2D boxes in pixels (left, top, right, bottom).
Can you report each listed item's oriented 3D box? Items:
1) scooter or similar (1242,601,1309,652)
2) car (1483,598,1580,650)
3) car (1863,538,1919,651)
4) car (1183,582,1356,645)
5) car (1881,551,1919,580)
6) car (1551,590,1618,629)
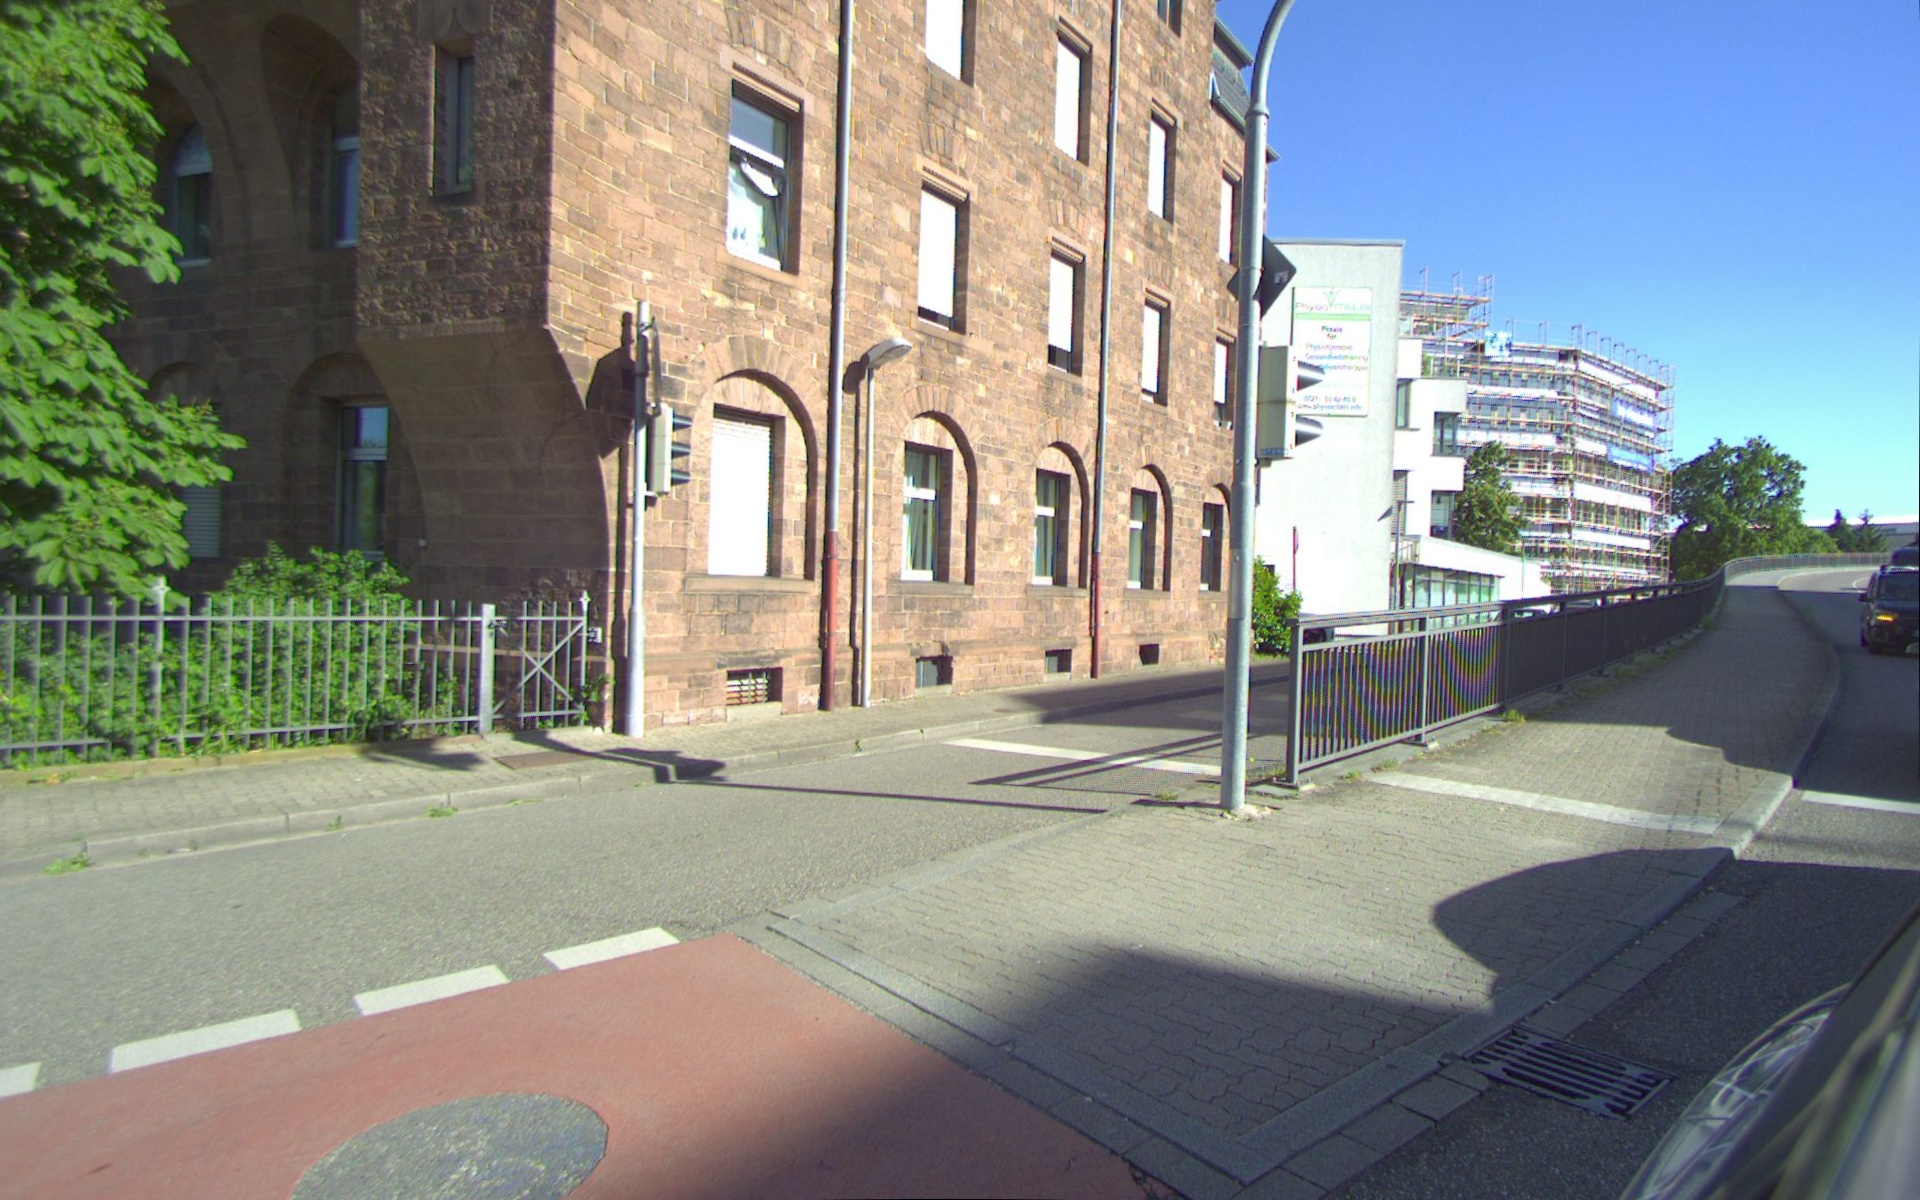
[{"bbox_3d":[7.909,0.657,25.383,1.453,1.234,0.775,-1,-1,35],"label":"scooter or similar"},{"bbox_3d":[19.123,0.749,33.770,1.844,1.448,4.611,1,3,42],"label":"car"},{"bbox_3d":[21.142,-0.197,21.983,1.901,2.240,4.539,2,4,37],"label":"car"},{"bbox_3d":[9.100,0.372,30.066,4.562,1.789,1.828,0,2,2],"label":"car"},{"bbox_3d":[56.584,-2.065,60.509,1.817,1.522,4.389,3,1,38],"label":"car"},{"bbox_3d":[27.591,0.401,44.659,1.843,1.554,3.940,3,2,41],"label":"car"}]
